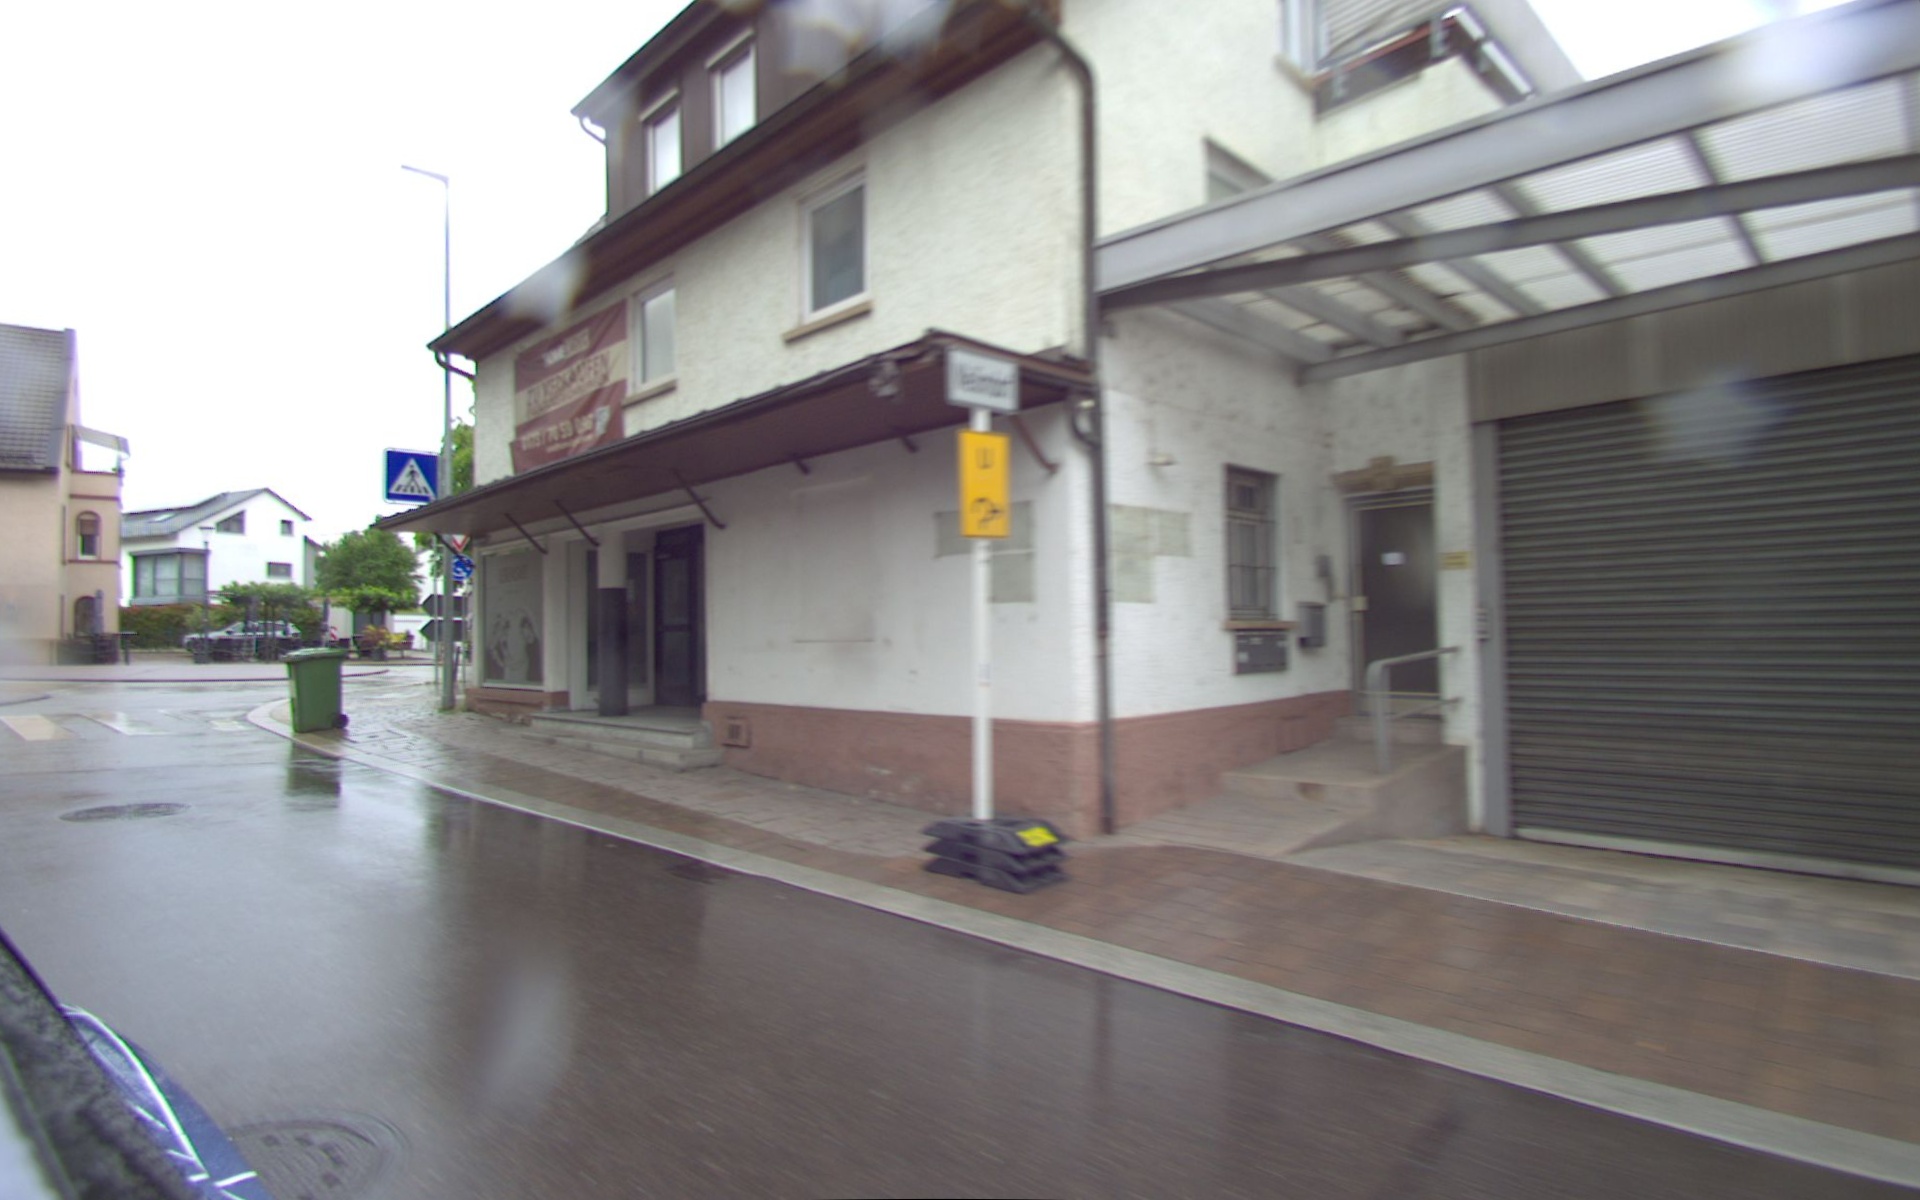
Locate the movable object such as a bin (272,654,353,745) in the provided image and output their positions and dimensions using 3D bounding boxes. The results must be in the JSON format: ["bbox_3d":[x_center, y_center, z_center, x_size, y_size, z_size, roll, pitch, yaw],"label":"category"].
[{"bbox_3d":[-8.575,1.292,13.400,0.760,1.089,0.680,0,1,39],"label":"movable object such as a bin"}]

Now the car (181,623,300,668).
[{"bbox_3d":[-34.190,2.218,48.256,4.412,2.029,2.005,3,-4,-32],"label":"car"}]
